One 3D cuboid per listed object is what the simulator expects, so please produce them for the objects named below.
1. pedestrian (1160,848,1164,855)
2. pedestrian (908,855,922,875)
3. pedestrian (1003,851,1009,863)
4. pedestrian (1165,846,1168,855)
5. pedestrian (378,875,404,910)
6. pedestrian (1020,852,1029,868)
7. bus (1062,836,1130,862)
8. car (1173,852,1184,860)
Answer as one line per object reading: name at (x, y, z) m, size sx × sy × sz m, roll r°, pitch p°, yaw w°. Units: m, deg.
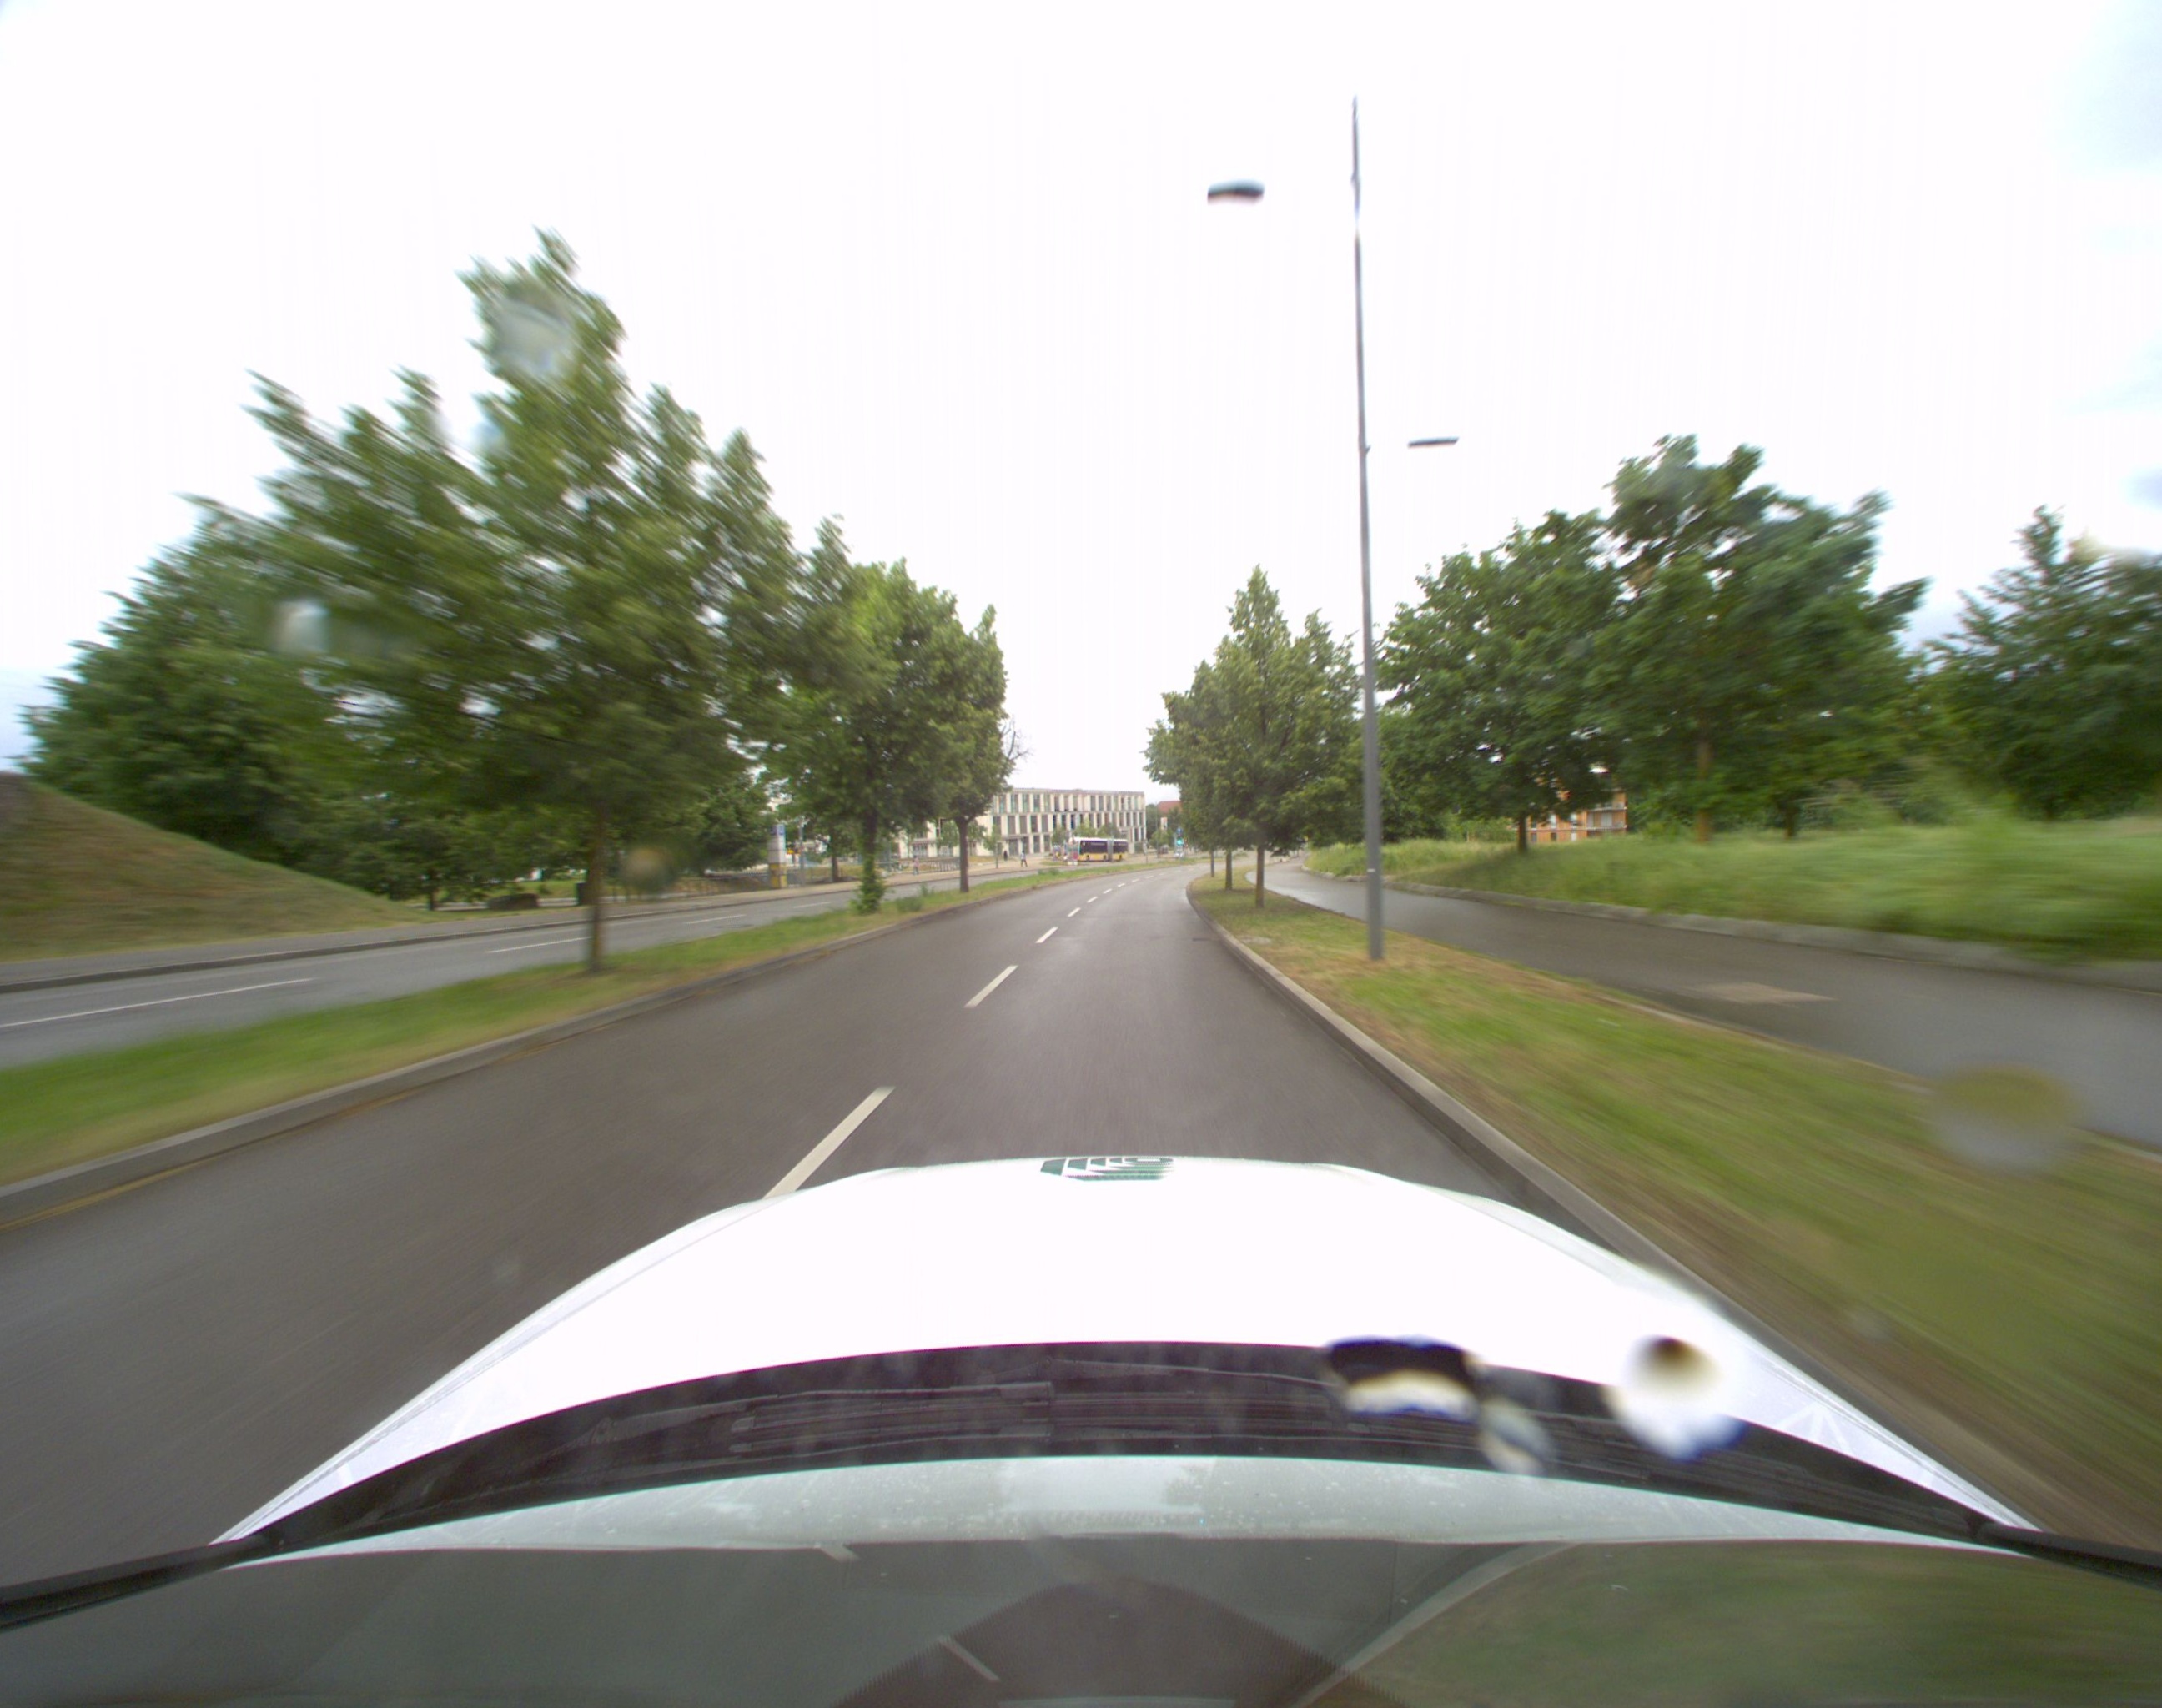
pedestrian at (18.533, -0.644, 185.603) m, size 0.831 × 1.532 × 0.752 m, roll -1°, pitch -1°, yaw 4°
pedestrian at (-13.342, 0.901, 65.514) m, size 0.808 × 1.621 × 0.938 m, roll -1°, pitch -1°, yaw 10°
pedestrian at (-9.759, 0.384, 106.228) m, size 0.680 × 1.524 × 0.719 m, roll -1°, pitch -1°, yaw -1°
pedestrian at (19.419, -0.790, 185.133) m, size 0.746 × 1.853 × 0.838 m, roll -1°, pitch -1°, yaw 0°
pedestrian at (-34.269, 1.892, 40.462) m, size 0.641 × 1.728 × 0.758 m, roll -1°, pitch -1°, yaw 10°
pedestrian at (-5.736, 0.633, 82.724) m, size 0.833 × 1.574 × 0.717 m, roll -1°, pitch -1°, yaw -7°
bus at (2.540, -0.585, 119.366) m, size 2.759 × 3.357 × 18.330 m, roll -2°, pitch -1°, yaw 25°
car at (19.086, 0.357, 158.713) m, size 1.465 × 1.494 × 2.544 m, roll -2°, pitch -1°, yaw 23°
